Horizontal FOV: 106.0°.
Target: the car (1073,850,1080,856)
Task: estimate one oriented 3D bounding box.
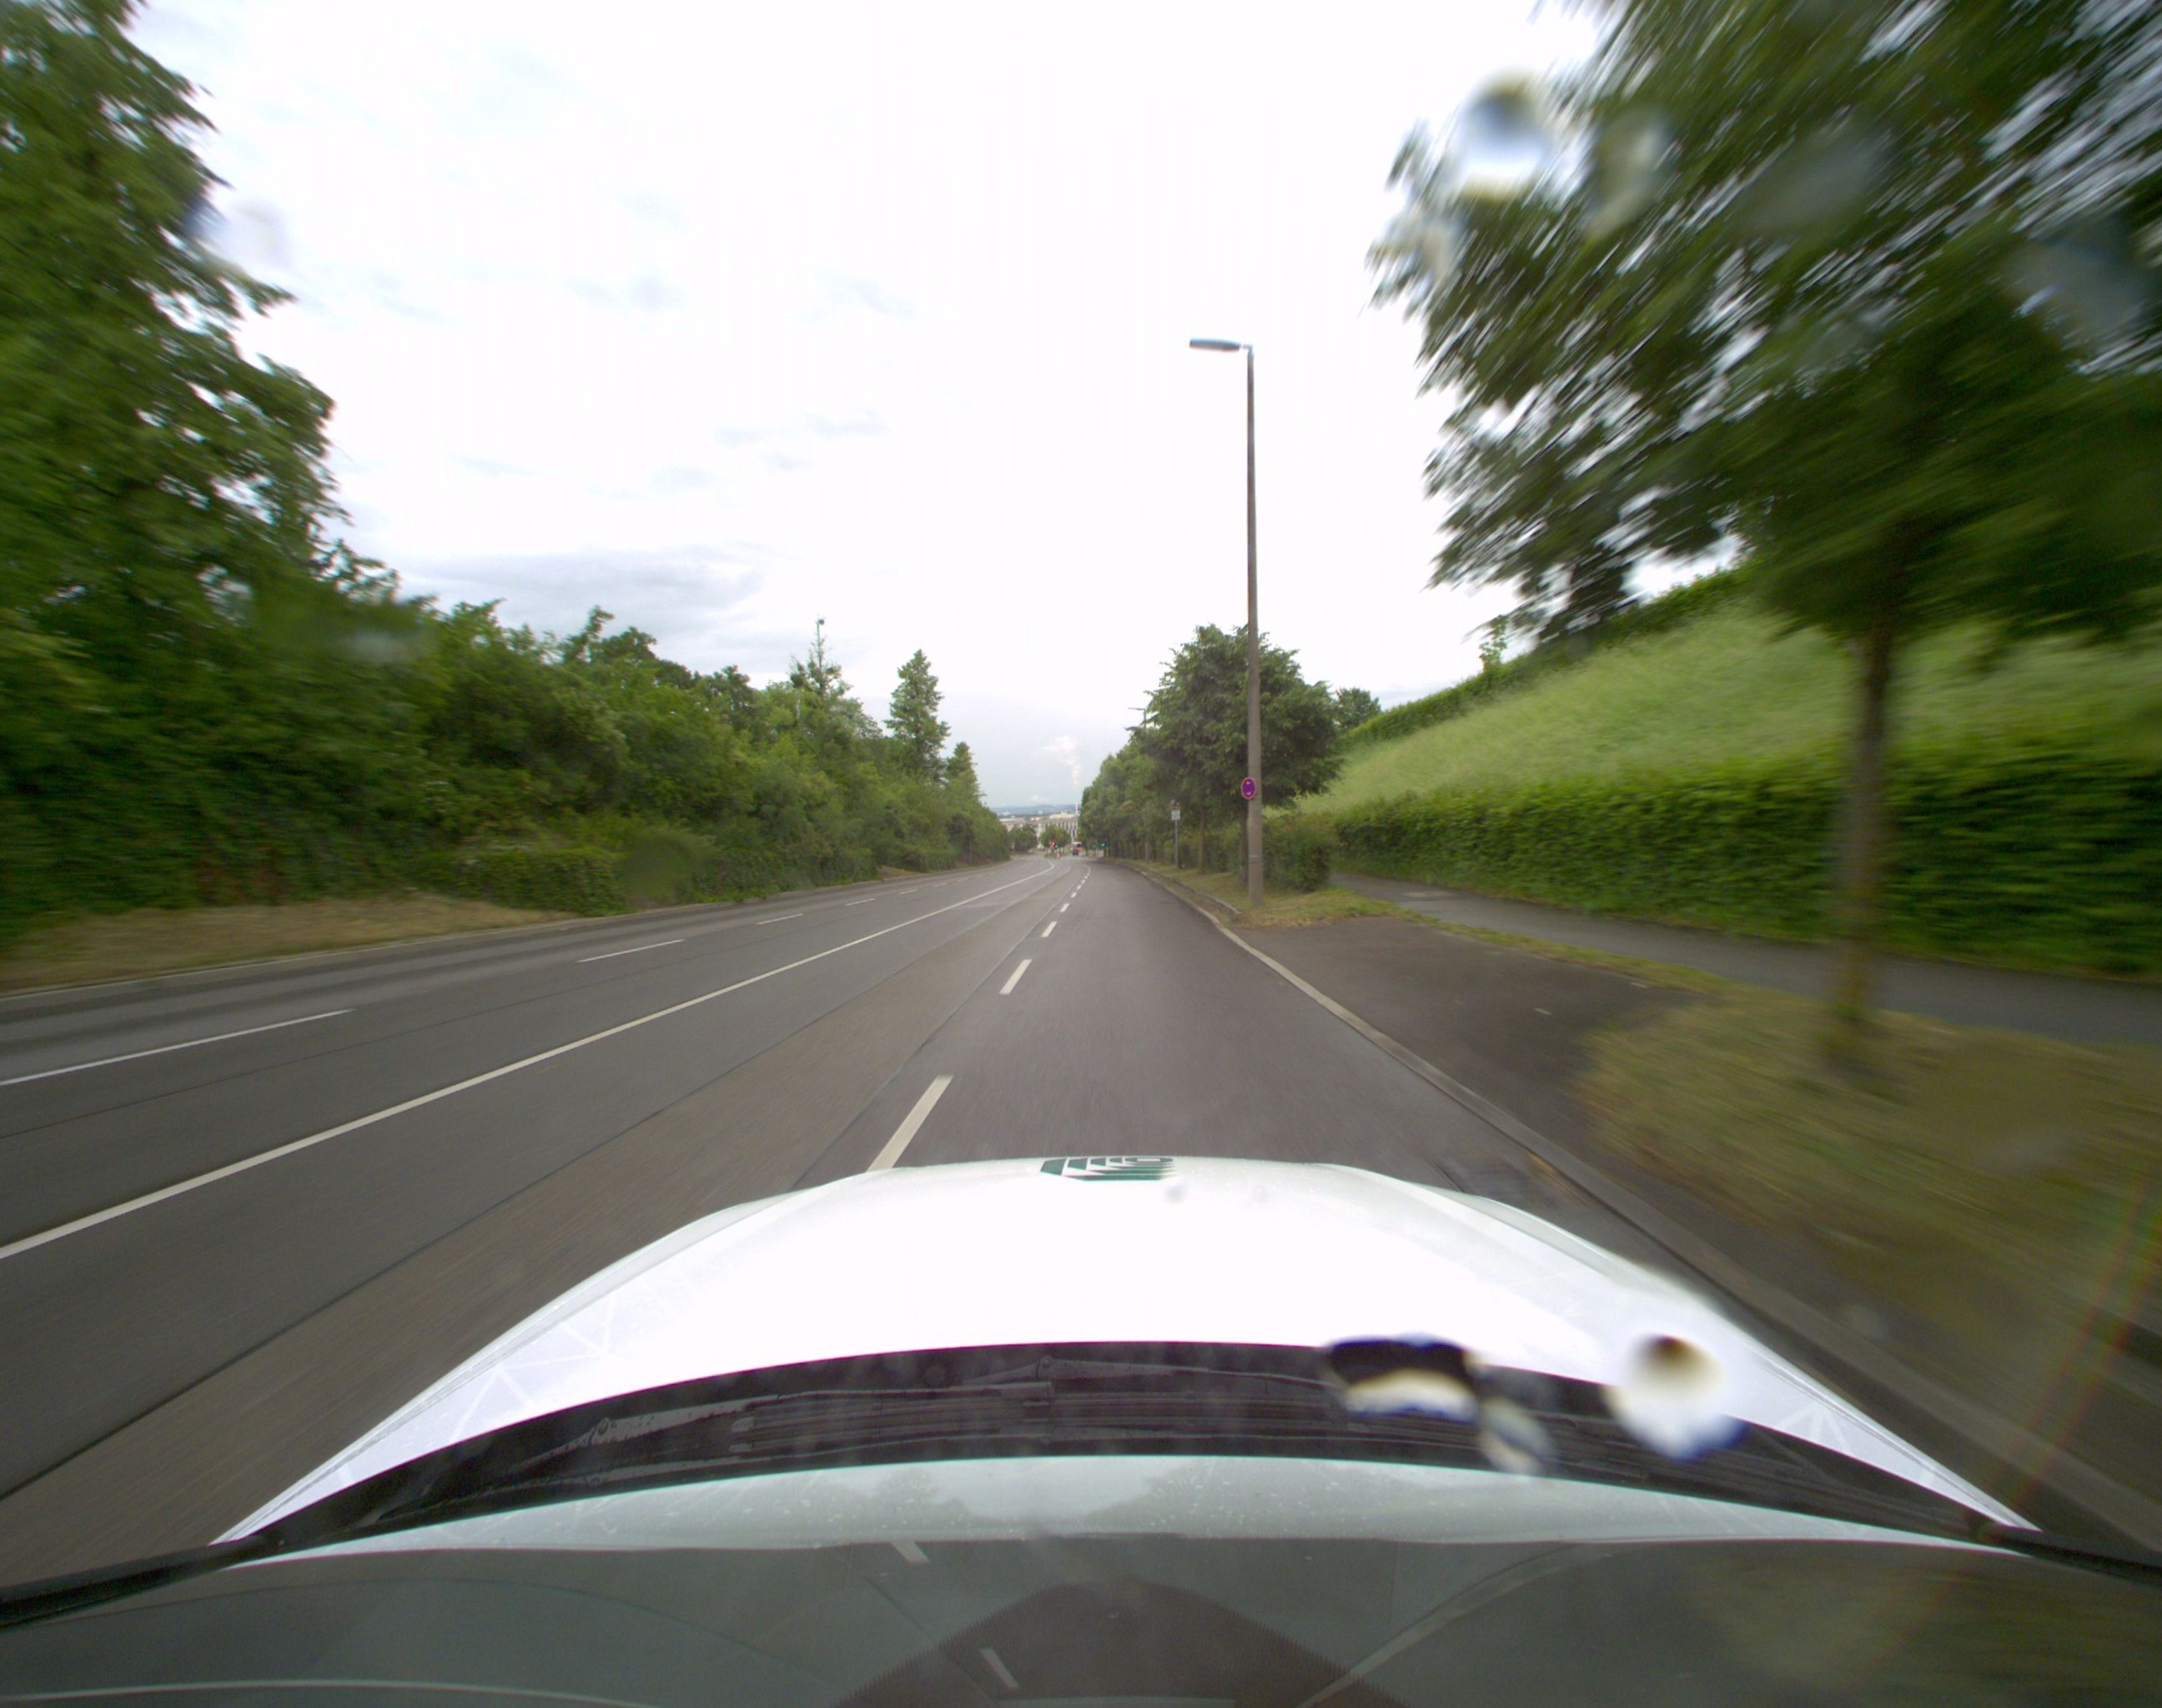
[{"bbox_3d":[-1.245,-0.296,225.082,1.843,1.702,3.792,0,-1,0],"label":"car"}]
